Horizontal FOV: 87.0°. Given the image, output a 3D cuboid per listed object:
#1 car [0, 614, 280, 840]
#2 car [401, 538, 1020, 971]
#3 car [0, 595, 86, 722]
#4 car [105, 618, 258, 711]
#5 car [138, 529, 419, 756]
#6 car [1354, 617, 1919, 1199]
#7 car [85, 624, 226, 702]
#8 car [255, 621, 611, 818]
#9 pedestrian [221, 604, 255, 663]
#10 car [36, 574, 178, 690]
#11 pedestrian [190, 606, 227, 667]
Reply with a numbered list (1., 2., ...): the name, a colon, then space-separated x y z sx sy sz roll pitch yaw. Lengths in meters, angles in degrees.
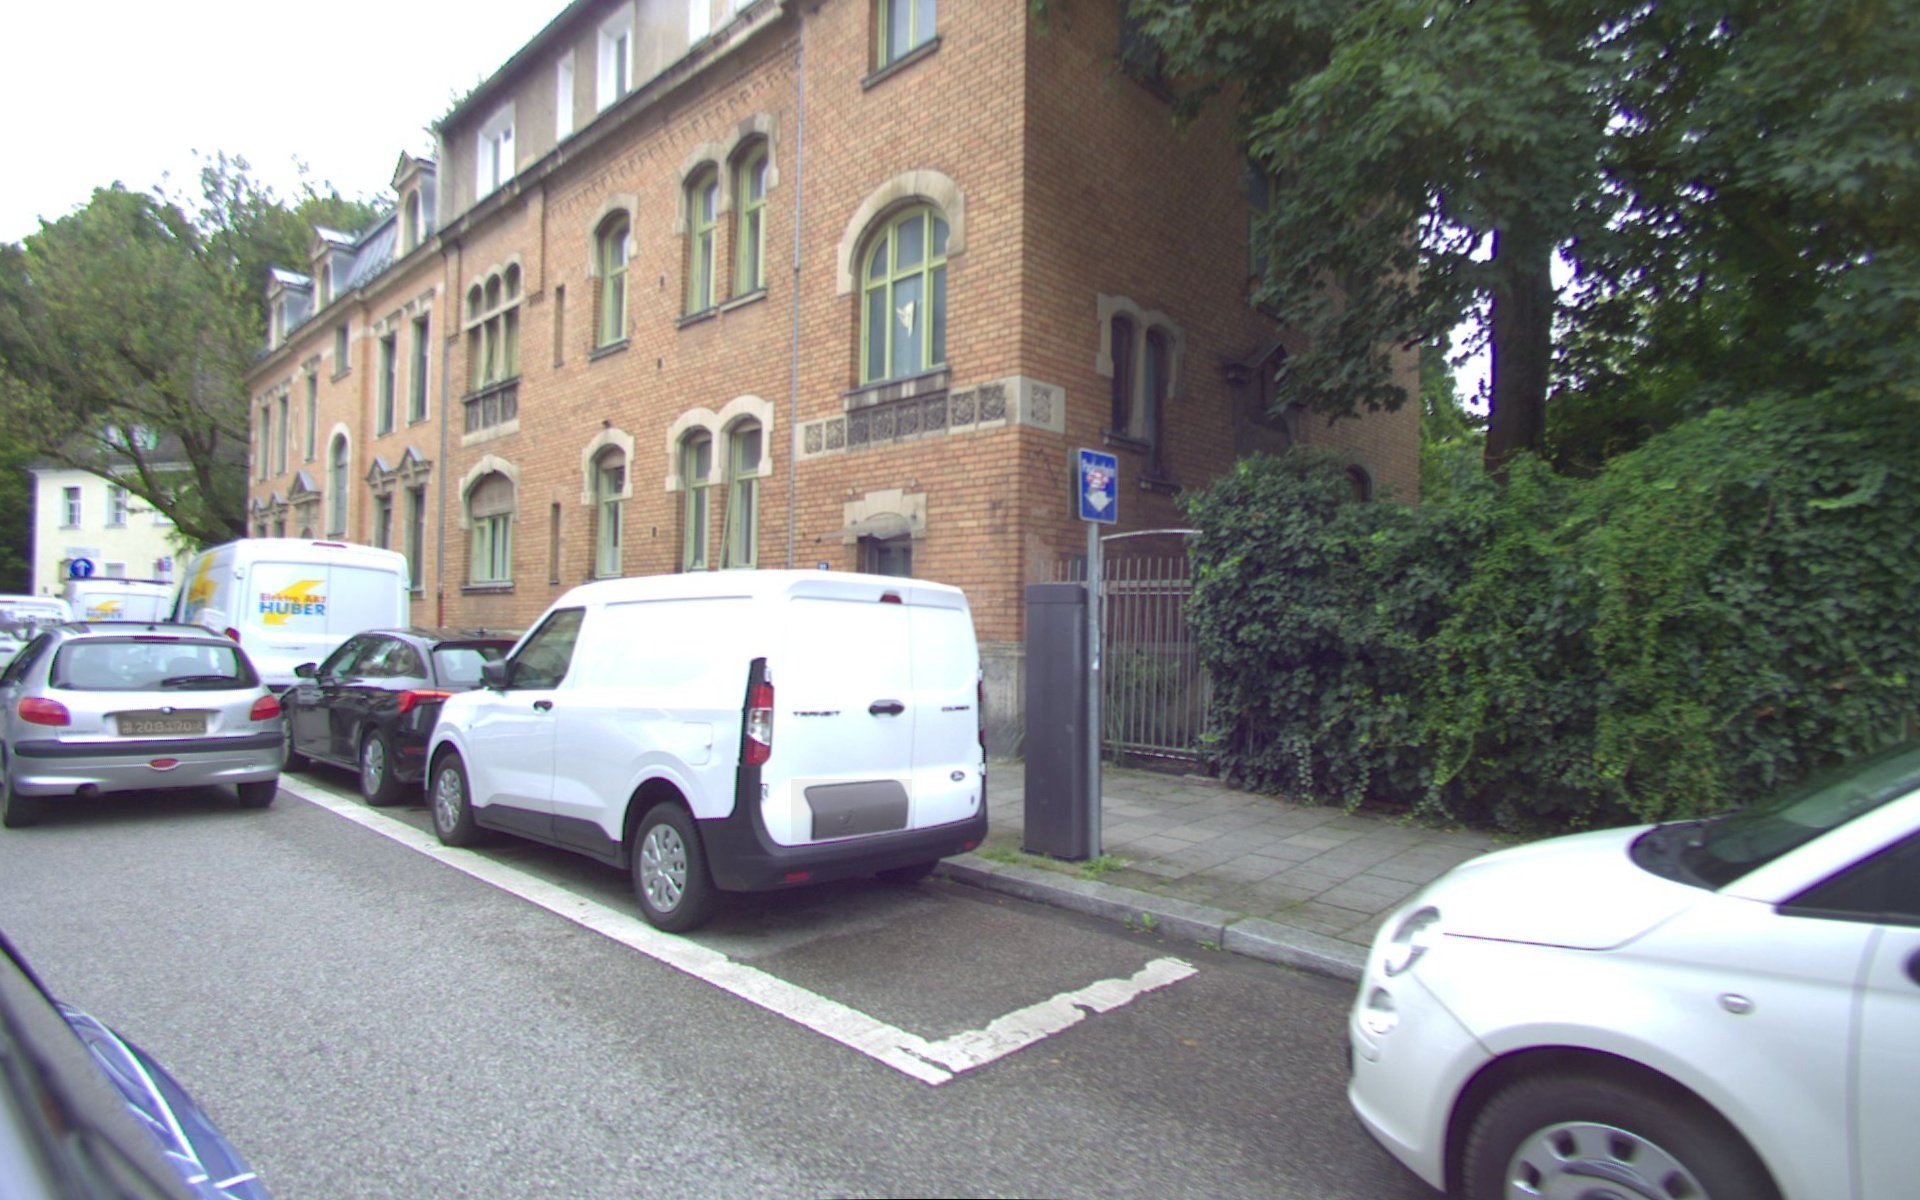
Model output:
1. car: -6.928 0.849 8.243 3.614 1.422 1.563 0 -2 44
2. car: -1.774 0.716 6.289 4.144 1.817 1.672 -1 -4 42
3. car: -15.401 0.863 15.895 4.567 1.817 1.754 -1 -2 39
4. car: -13.607 1.082 17.618 3.541 1.454 1.506 -2 -4 43
5. car: -9.340 0.540 13.652 5.224 2.497 1.959 -1 -4 44
6. car: 2.644 0.795 1.836 3.312 1.478 1.457 -1 -3 42
7. car: -16.690 1.266 20.925 3.984 1.454 1.671 -2 -4 43
8. car: -5.116 0.962 9.561 4.145 1.454 1.671 -1 -4 43
9. pedestrian: -20.196 0.941 28.320 0.467 1.645 0.625 -1 -4 44
10. car: -20.980 0.831 24.833 4.422 2.560 2.089 -2 -6 44
11. pedestrian: -20.639 1.015 27.781 0.675 1.645 0.625 -1 -4 44
